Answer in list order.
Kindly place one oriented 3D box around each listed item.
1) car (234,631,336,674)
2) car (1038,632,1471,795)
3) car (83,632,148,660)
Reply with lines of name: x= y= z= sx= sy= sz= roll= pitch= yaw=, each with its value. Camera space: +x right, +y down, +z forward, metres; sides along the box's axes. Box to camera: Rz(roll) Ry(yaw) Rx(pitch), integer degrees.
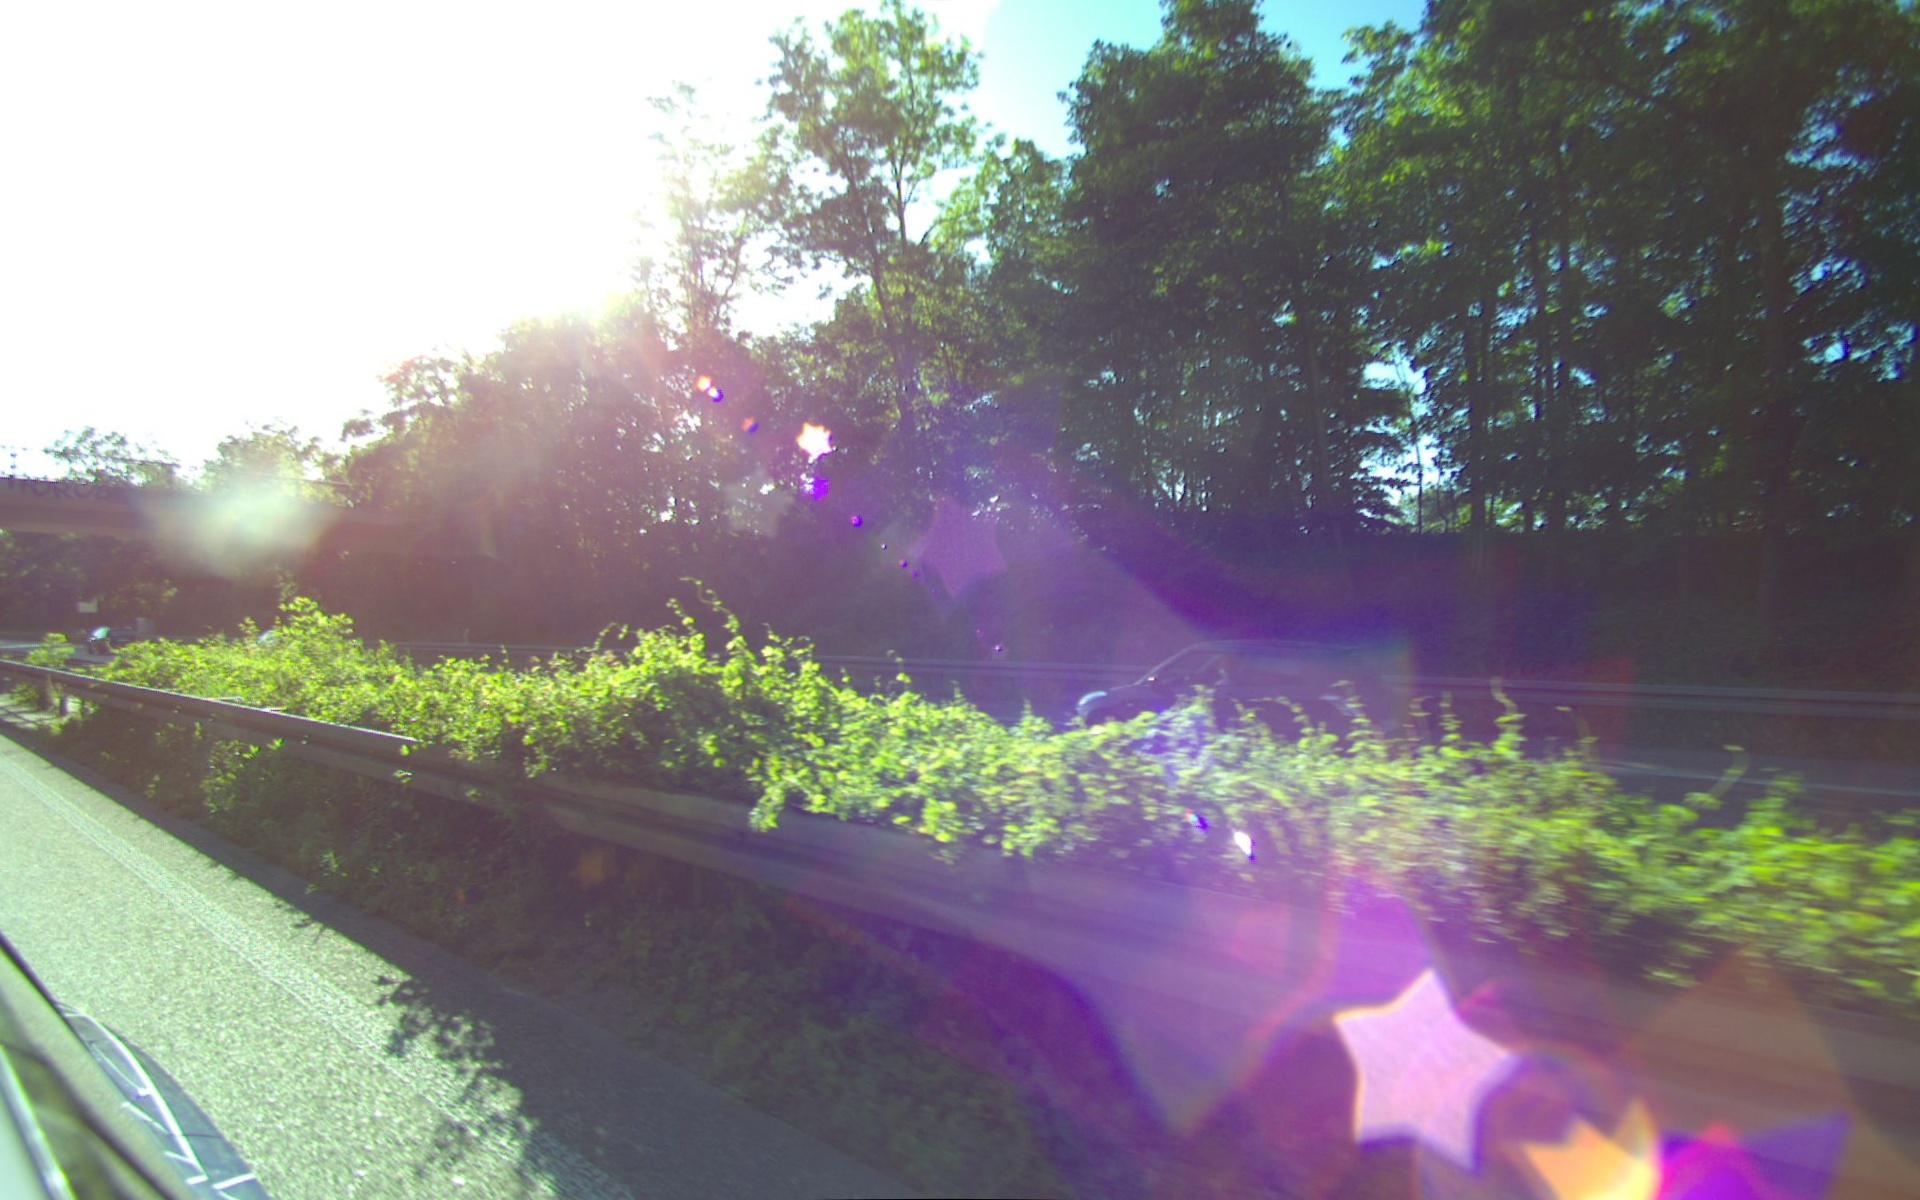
car: x=-25.020 y=1.898 z=37.438 sx=4.580 sy=1.461 sz=1.941 roll=-2 pitch=-1 yaw=40
car: x=3.217 y=1.118 z=11.528 sx=4.322 sy=1.461 sz=1.941 roll=-2 pitch=-1 yaw=40
car: x=-46.358 y=2.501 z=55.537 sx=4.703 sy=1.461 sz=1.940 roll=-1 pitch=-3 yaw=40
